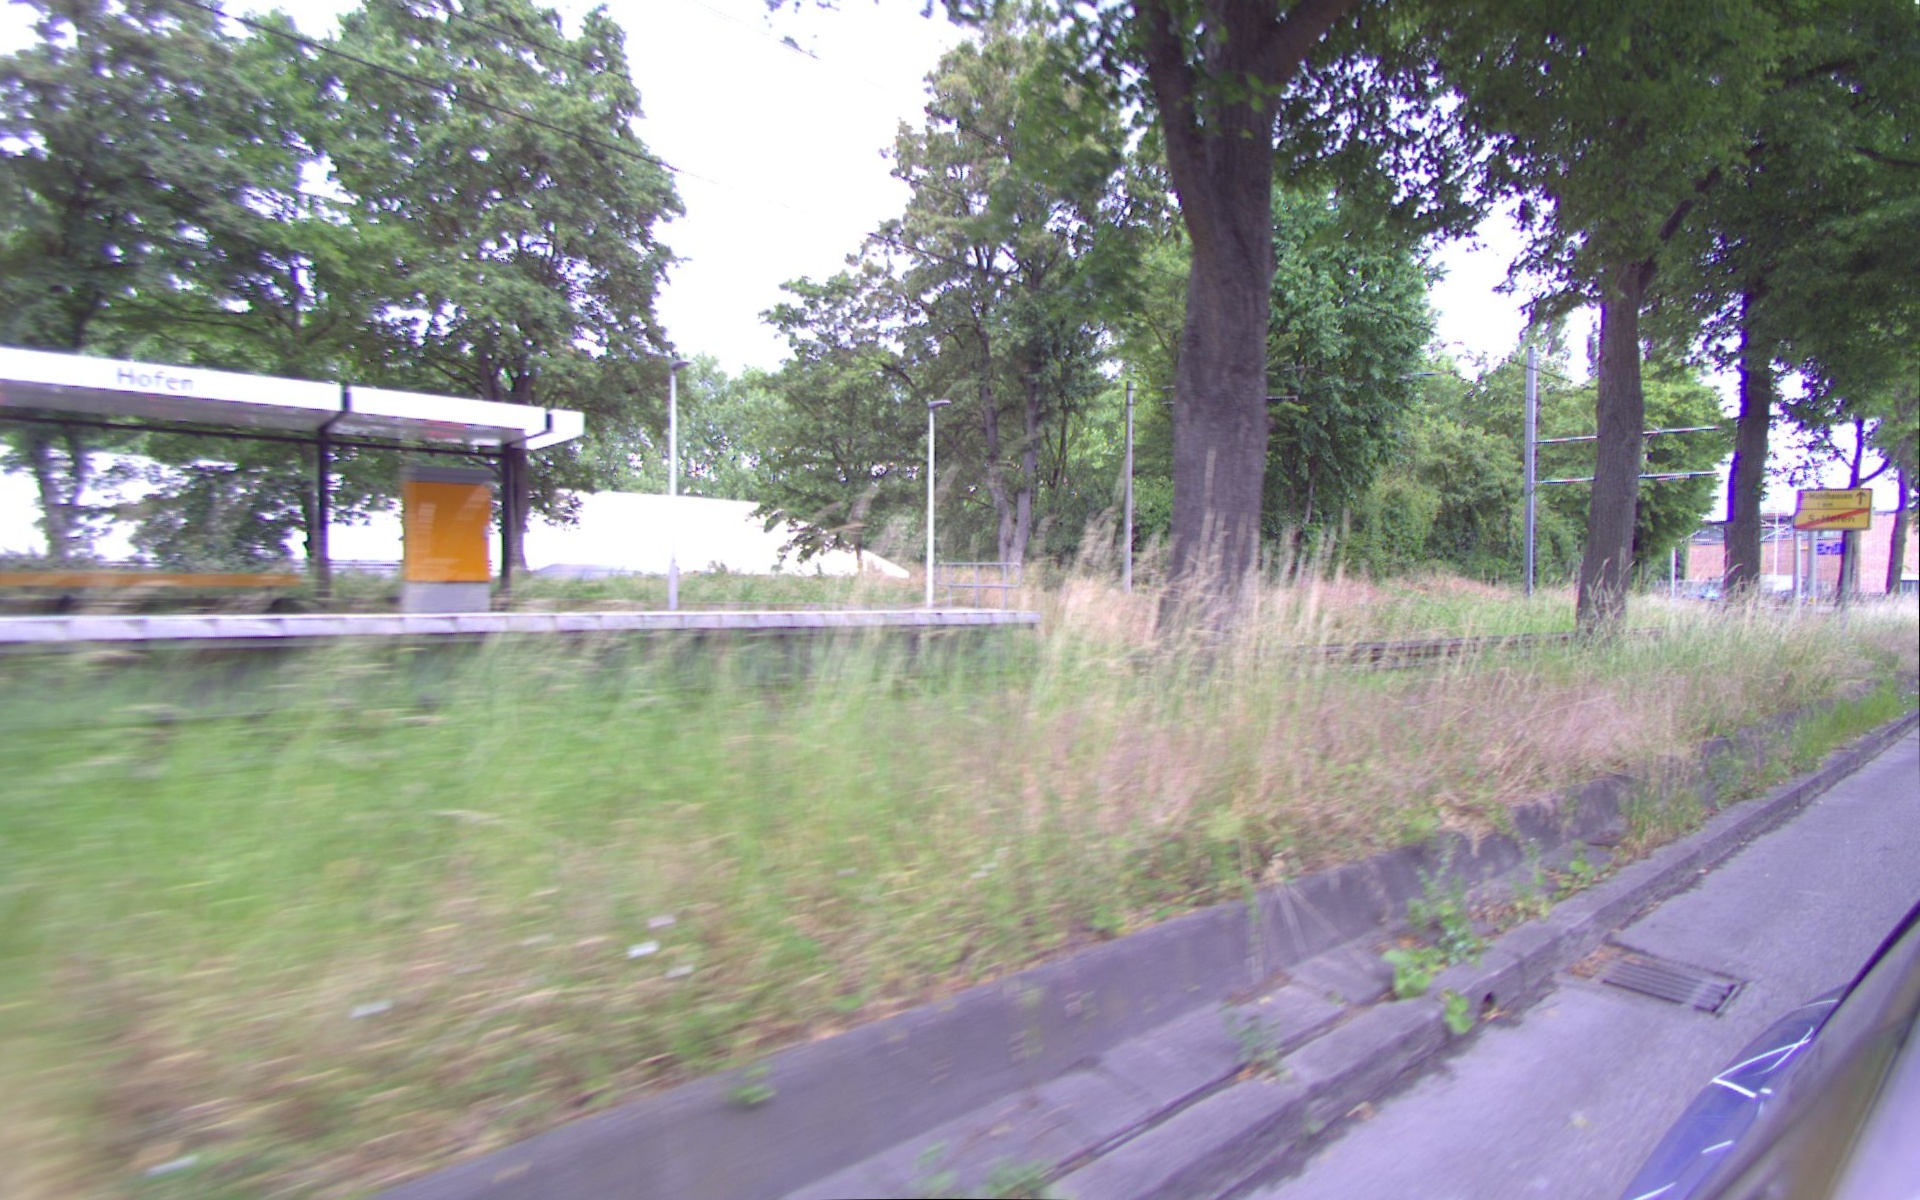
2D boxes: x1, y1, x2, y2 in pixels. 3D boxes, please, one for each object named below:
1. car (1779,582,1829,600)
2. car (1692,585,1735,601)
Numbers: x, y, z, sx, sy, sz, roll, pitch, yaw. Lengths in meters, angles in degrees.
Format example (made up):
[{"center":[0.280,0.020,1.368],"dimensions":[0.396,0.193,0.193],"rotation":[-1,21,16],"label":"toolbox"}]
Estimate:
[{"center":[75.396,-0.802,90.448],"dimensions":[1.698,1.627,4.000],"rotation":[0,0,11],"label":"car"},{"center":[75.839,-0.658,101.896],"dimensions":[1.556,1.505,3.694],"rotation":[-1,-1,1],"label":"car"}]
